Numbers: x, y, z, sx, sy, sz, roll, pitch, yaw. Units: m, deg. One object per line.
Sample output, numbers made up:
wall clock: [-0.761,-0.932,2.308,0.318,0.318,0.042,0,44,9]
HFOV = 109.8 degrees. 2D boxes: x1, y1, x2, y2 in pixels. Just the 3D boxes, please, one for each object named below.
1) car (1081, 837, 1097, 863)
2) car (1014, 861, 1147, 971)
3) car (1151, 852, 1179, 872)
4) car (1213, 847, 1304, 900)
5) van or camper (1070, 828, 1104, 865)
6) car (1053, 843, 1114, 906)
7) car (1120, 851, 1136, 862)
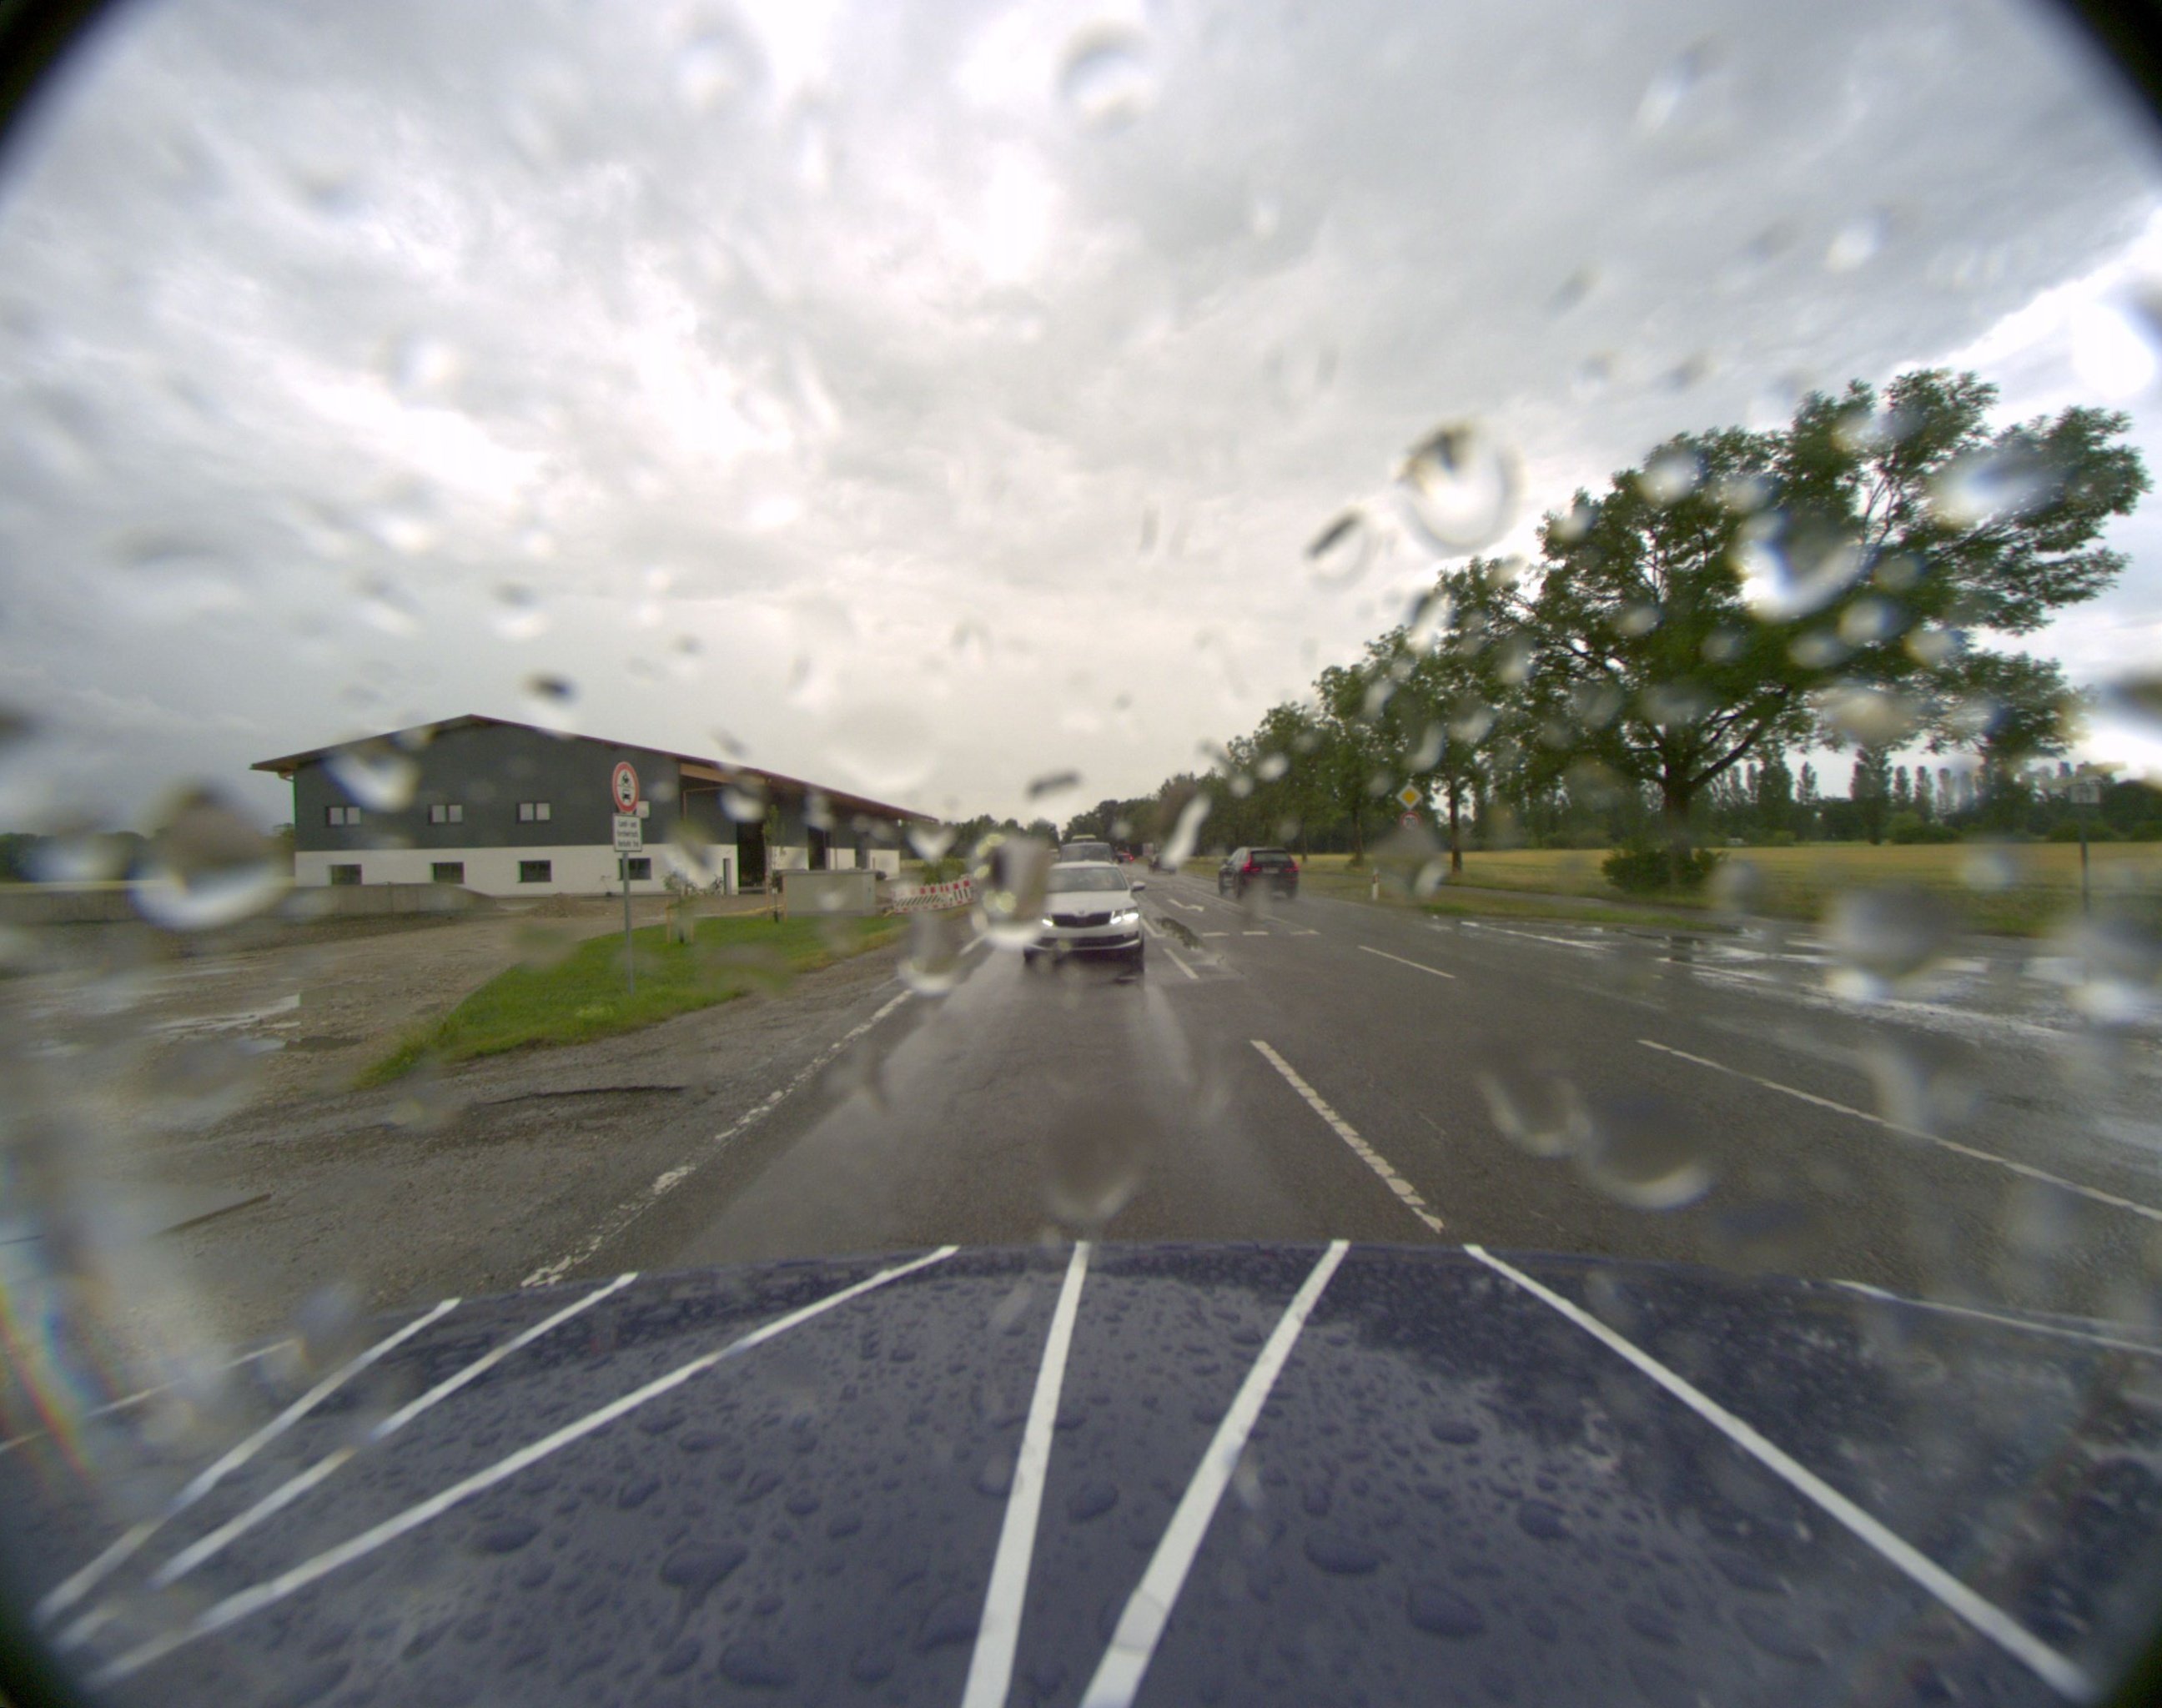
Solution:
car: [0.964,-0.479,92.947,1.771,3.134,4.027,-2,1,0]
car: [0.018,0.863,12.568,1.770,1.365,4.575,-1,1,1]
car: [6.041,0.536,54.873,1.716,1.397,3.814,0,0,2]
car: [5.749,0.582,25.204,1.949,1.571,4.443,-1,0,0]
van or camper: [0.632,-0.793,81.176,3.342,3.624,8.372,-1,1,1]
car: [0.095,0.601,25.628,1.841,1.888,4.575,-1,1,1]
car: [6.207,0.274,100.130,1.770,1.429,4.413,-1,0,0]
